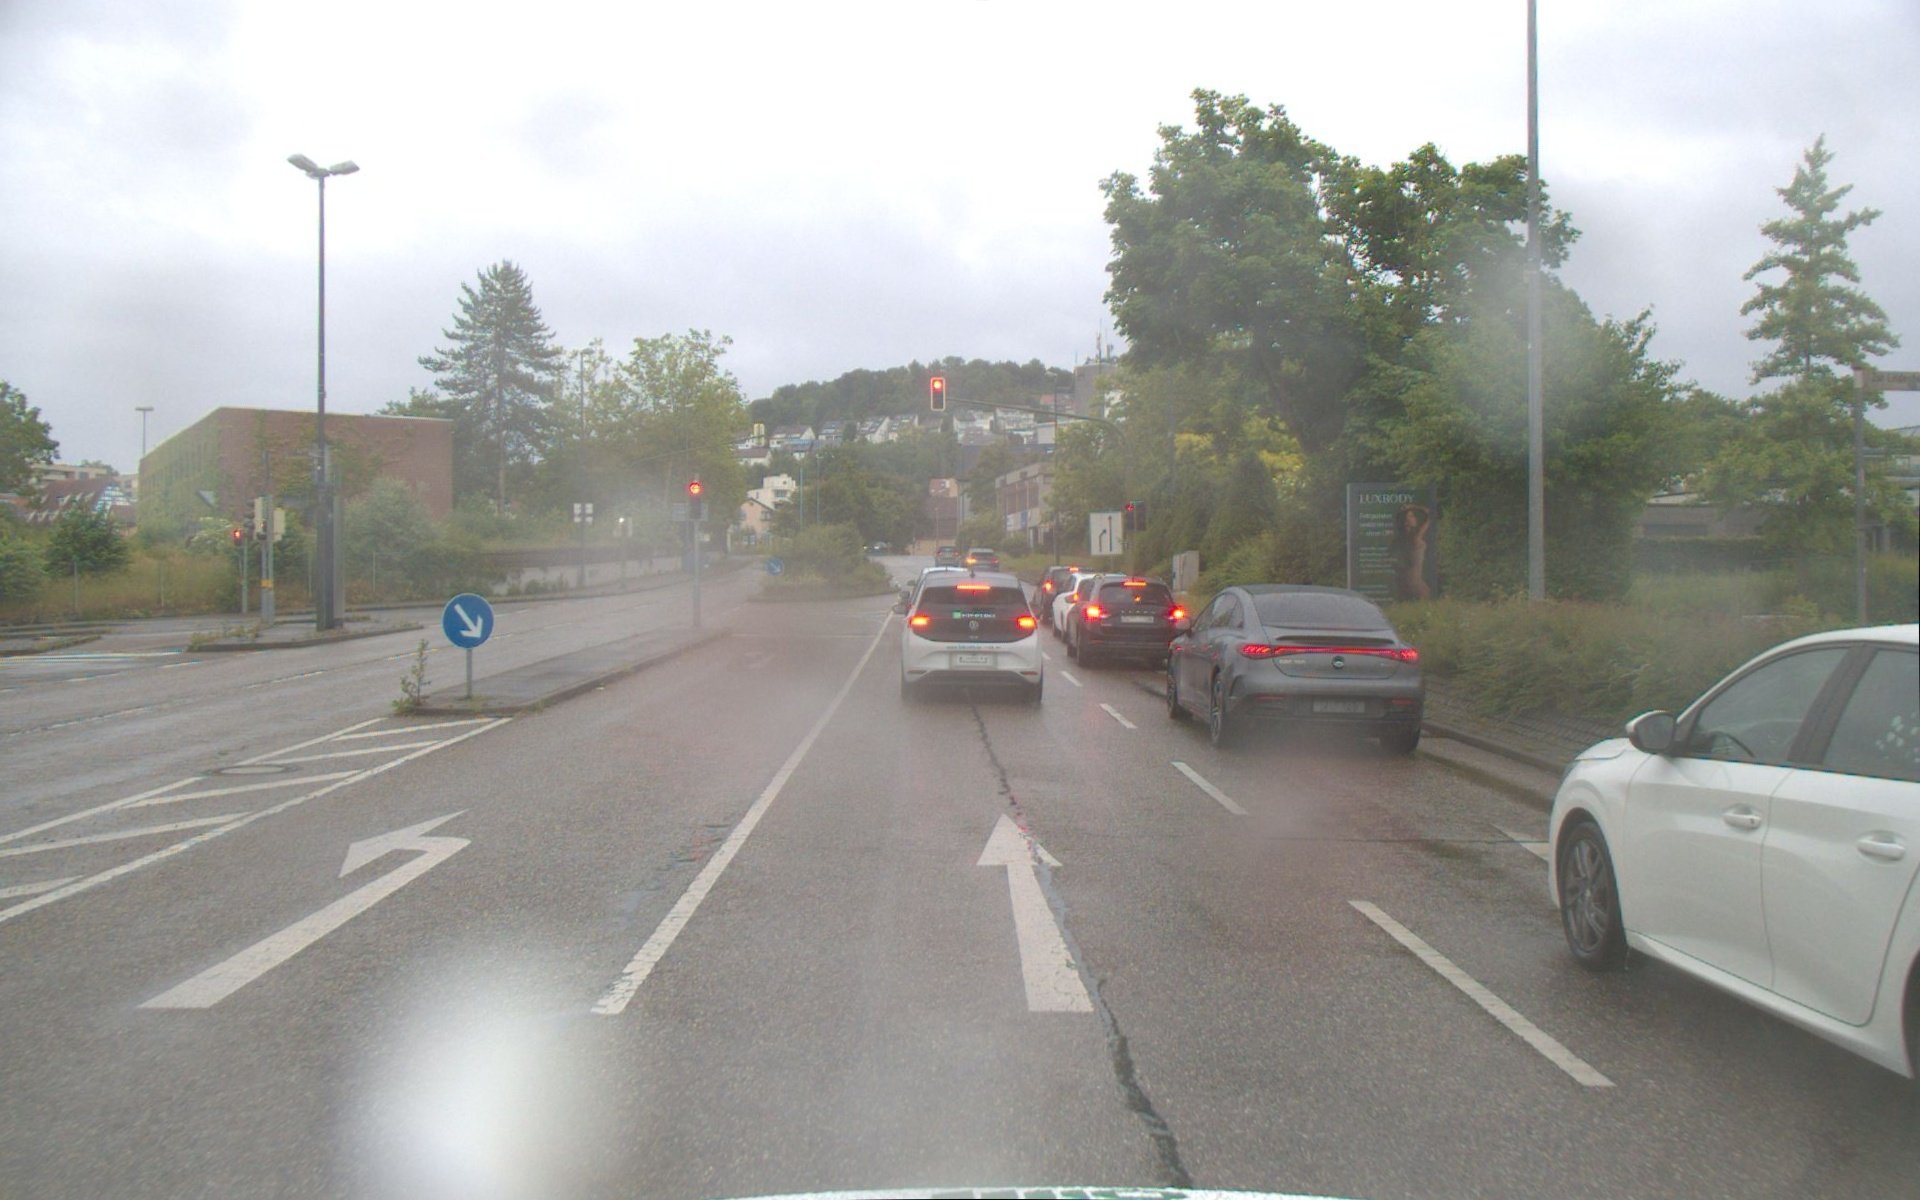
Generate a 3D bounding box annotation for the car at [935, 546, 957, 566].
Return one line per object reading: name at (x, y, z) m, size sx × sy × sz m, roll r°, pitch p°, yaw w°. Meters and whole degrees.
car at (-0.997, -3.035, 114.869) m, size 1.339 × 1.177 × 2.424 m, roll -1°, pitch -2°, yaw -4°

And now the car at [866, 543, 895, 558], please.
car at (-8.810, -5.459, 182.996) m, size 1.507 × 1.480 × 3.095 m, roll -4°, pitch -3°, yaw 38°

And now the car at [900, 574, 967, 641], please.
car at (-0.533, 0.166, 31.625) m, size 1.188 × 1.176 × 2.268 m, roll -1°, pitch -2°, yaw -3°

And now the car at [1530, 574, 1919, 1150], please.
car at (3.403, 0.700, 5.411) m, size 1.656 × 1.545 × 3.932 m, roll 1°, pitch 1°, yaw -1°

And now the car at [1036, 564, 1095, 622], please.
car at (2.762, -0.205, 43.808) m, size 1.289 × 1.421 × 3.079 m, roll -2°, pitch 2°, yaw -1°

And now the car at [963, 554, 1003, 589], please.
car at (1.180, -1.473, 86.644) m, size 1.759 × 1.596 × 3.522 m, roll -2°, pitch -2°, yaw -5°

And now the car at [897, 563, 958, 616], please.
car at (-0.786, -0.243, 41.288) m, size 1.356 × 1.146 × 2.610 m, roll -2°, pitch -2°, yaw 1°

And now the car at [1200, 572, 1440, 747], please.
car at (3.353, 0.483, 15.967) m, size 1.698 × 1.412 × 3.354 m, roll 1°, pitch 2°, yaw 2°

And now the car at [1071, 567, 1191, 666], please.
car at (2.805, 0.326, 27.735) m, size 1.614 × 1.511 × 3.365 m, roll -2°, pitch -2°, yaw 0°

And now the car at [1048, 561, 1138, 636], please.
car at (2.839, 0.010, 36.004) m, size 1.533 × 1.422 × 3.956 m, roll -2°, pitch -2°, yaw -1°

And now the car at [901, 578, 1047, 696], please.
car at (0.125, 0.414, 21.058) m, size 1.706 × 1.318 × 3.333 m, roll 0°, pitch 2°, yaw -2°
